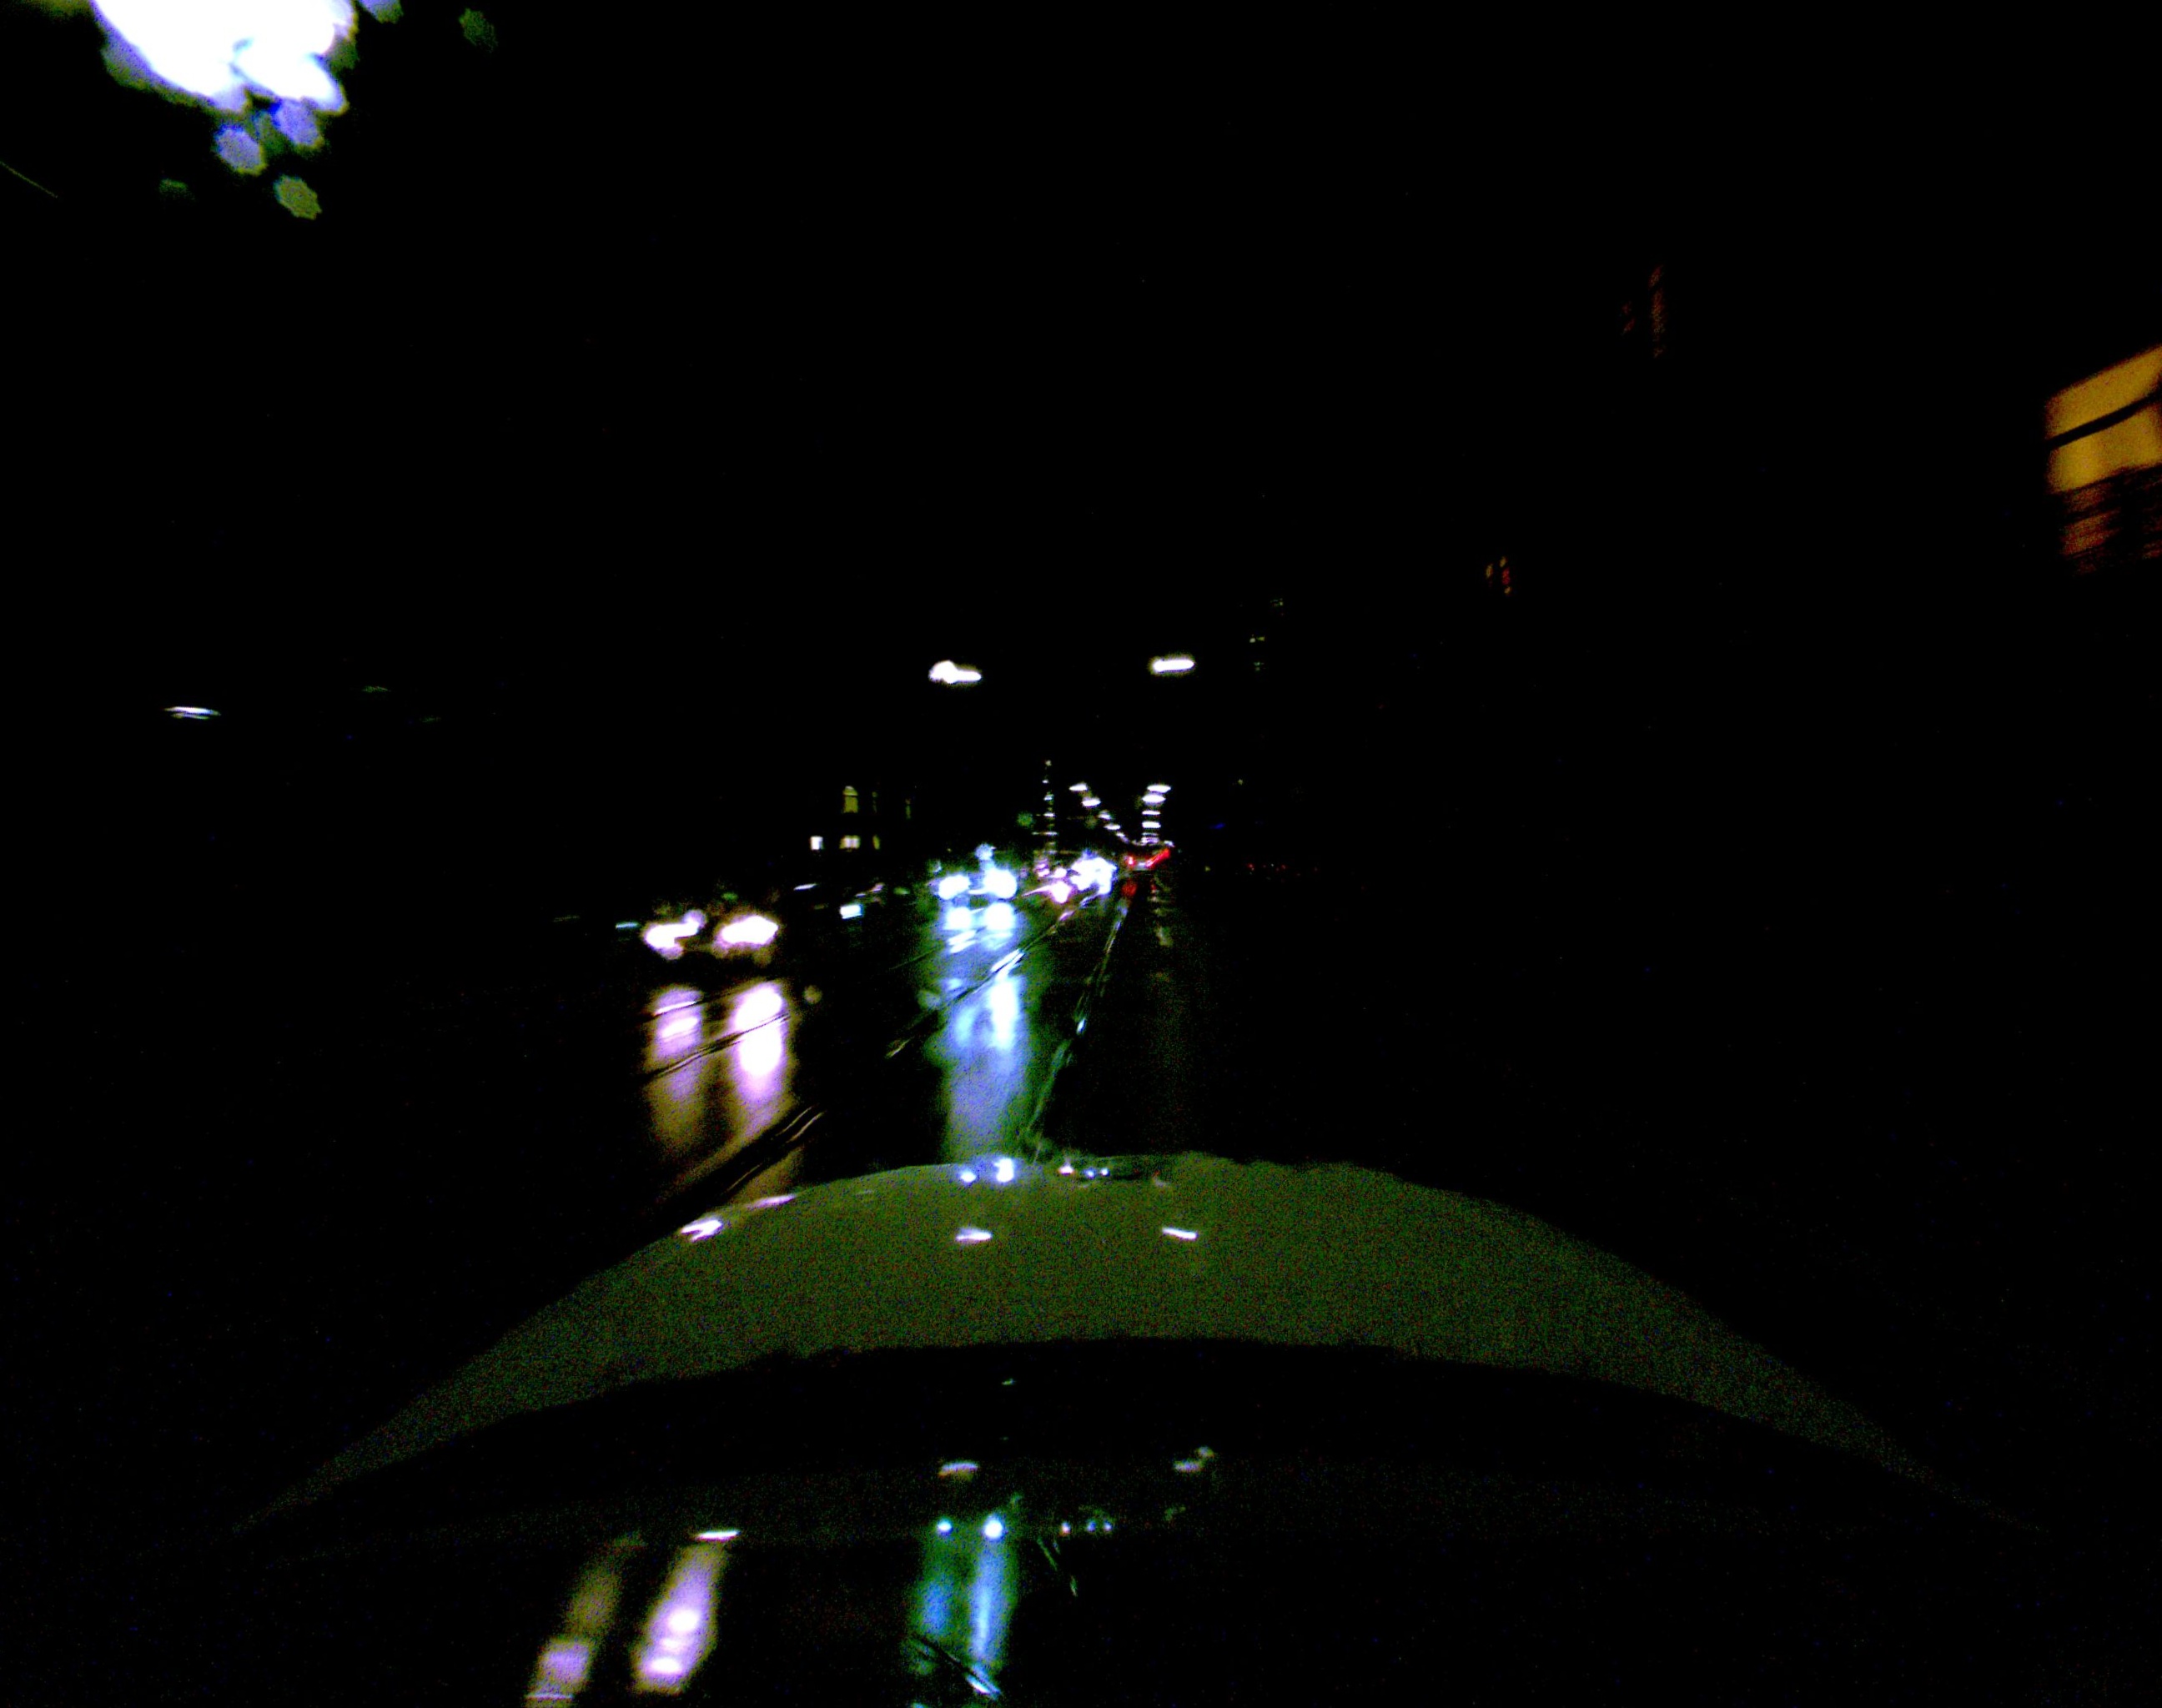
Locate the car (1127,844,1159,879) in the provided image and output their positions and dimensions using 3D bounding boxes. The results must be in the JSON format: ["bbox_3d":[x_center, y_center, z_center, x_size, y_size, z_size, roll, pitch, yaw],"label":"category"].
[{"bbox_3d":[4.555,0.549,60.714,2.208,2.441,5.387,-1,0,2],"label":"car"}]

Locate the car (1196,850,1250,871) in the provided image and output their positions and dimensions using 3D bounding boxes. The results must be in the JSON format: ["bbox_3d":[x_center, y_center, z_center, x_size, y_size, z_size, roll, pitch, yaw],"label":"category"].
[{"bbox_3d":[10.240,0.434,58.611,3.808,1.458,1.750,0,0,-38],"label":"car"}]

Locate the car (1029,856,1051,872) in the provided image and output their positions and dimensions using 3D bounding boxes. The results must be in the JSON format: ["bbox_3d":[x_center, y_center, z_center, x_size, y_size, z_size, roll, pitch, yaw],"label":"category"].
[{"bbox_3d":[-3.789,0.945,75.771,1.603,1.428,3.811,0,-1,3],"label":"car"}]

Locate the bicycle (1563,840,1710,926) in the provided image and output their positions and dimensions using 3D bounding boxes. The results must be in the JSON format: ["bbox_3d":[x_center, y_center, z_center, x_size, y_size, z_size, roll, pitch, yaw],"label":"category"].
[{"bbox_3d":[8.532,0.443,12.544,1.807,1.164,0.493,-5,-1,1],"label":"bicycle"}]

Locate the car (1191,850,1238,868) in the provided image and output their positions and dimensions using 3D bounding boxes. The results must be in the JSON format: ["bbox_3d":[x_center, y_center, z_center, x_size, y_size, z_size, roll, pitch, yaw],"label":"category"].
[{"bbox_3d":[10.669,0.390,64.900,3.855,1.438,1.581,0,0,-41],"label":"car"}]

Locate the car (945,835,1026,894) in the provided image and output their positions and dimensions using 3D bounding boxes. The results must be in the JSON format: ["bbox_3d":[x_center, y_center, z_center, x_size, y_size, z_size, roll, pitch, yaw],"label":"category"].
[{"bbox_3d":[-3.382,0.334,29.799,1.917,1.879,4.644,-3,0,5],"label":"car"}]

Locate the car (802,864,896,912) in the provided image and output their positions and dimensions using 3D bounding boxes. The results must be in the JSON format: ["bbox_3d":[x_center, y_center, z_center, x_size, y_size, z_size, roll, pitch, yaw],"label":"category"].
[{"bbox_3d":[-7.615,1.072,27.112,1.758,1.406,4.144,0,0,2],"label":"car"}]

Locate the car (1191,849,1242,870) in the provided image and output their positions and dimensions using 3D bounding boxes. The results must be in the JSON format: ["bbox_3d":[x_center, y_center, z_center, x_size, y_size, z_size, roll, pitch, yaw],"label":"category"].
[{"bbox_3d":[10.275,0.389,61.613,3.878,1.488,1.785,-1,0,-44],"label":"car"}]

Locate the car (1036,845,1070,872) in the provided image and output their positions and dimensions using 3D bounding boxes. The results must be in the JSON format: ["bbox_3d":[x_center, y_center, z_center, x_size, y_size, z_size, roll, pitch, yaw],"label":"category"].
[{"bbox_3d":[-1.655,0.277,49.471,1.644,1.479,4.209,-3,0,3],"label":"car"}]

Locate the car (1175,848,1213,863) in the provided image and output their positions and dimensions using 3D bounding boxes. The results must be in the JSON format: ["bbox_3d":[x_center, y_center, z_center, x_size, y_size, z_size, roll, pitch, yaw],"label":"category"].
[{"bbox_3d":[12.337,0.171,88.774,3.907,1.533,1.801,-1,0,-37],"label":"car"}]

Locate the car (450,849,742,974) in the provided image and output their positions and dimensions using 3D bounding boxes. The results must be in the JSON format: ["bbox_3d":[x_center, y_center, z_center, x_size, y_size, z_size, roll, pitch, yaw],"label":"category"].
[{"bbox_3d":[-8.579,0.868,15.194,1.985,1.825,5.314,1,1,4],"label":"car"}]

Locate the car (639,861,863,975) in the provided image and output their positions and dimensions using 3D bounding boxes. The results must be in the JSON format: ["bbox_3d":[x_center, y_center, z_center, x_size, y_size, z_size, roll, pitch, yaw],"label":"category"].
[{"bbox_3d":[-5.136,0.910,13.318,1.784,1.464,3.906,-2,0,4],"label":"car"}]

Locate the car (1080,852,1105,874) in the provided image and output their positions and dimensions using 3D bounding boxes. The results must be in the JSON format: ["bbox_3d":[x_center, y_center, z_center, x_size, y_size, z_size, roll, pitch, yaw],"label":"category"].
[{"bbox_3d":[1.126,0.801,75.967,1.929,1.815,4.391,-4,0,5],"label":"car"}]

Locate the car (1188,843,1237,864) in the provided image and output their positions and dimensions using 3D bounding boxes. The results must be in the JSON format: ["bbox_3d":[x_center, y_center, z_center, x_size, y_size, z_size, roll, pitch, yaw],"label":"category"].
[{"bbox_3d":[11.738,-0.040,72.444,4.193,1.839,1.941,0,0,-37],"label":"car"}]
